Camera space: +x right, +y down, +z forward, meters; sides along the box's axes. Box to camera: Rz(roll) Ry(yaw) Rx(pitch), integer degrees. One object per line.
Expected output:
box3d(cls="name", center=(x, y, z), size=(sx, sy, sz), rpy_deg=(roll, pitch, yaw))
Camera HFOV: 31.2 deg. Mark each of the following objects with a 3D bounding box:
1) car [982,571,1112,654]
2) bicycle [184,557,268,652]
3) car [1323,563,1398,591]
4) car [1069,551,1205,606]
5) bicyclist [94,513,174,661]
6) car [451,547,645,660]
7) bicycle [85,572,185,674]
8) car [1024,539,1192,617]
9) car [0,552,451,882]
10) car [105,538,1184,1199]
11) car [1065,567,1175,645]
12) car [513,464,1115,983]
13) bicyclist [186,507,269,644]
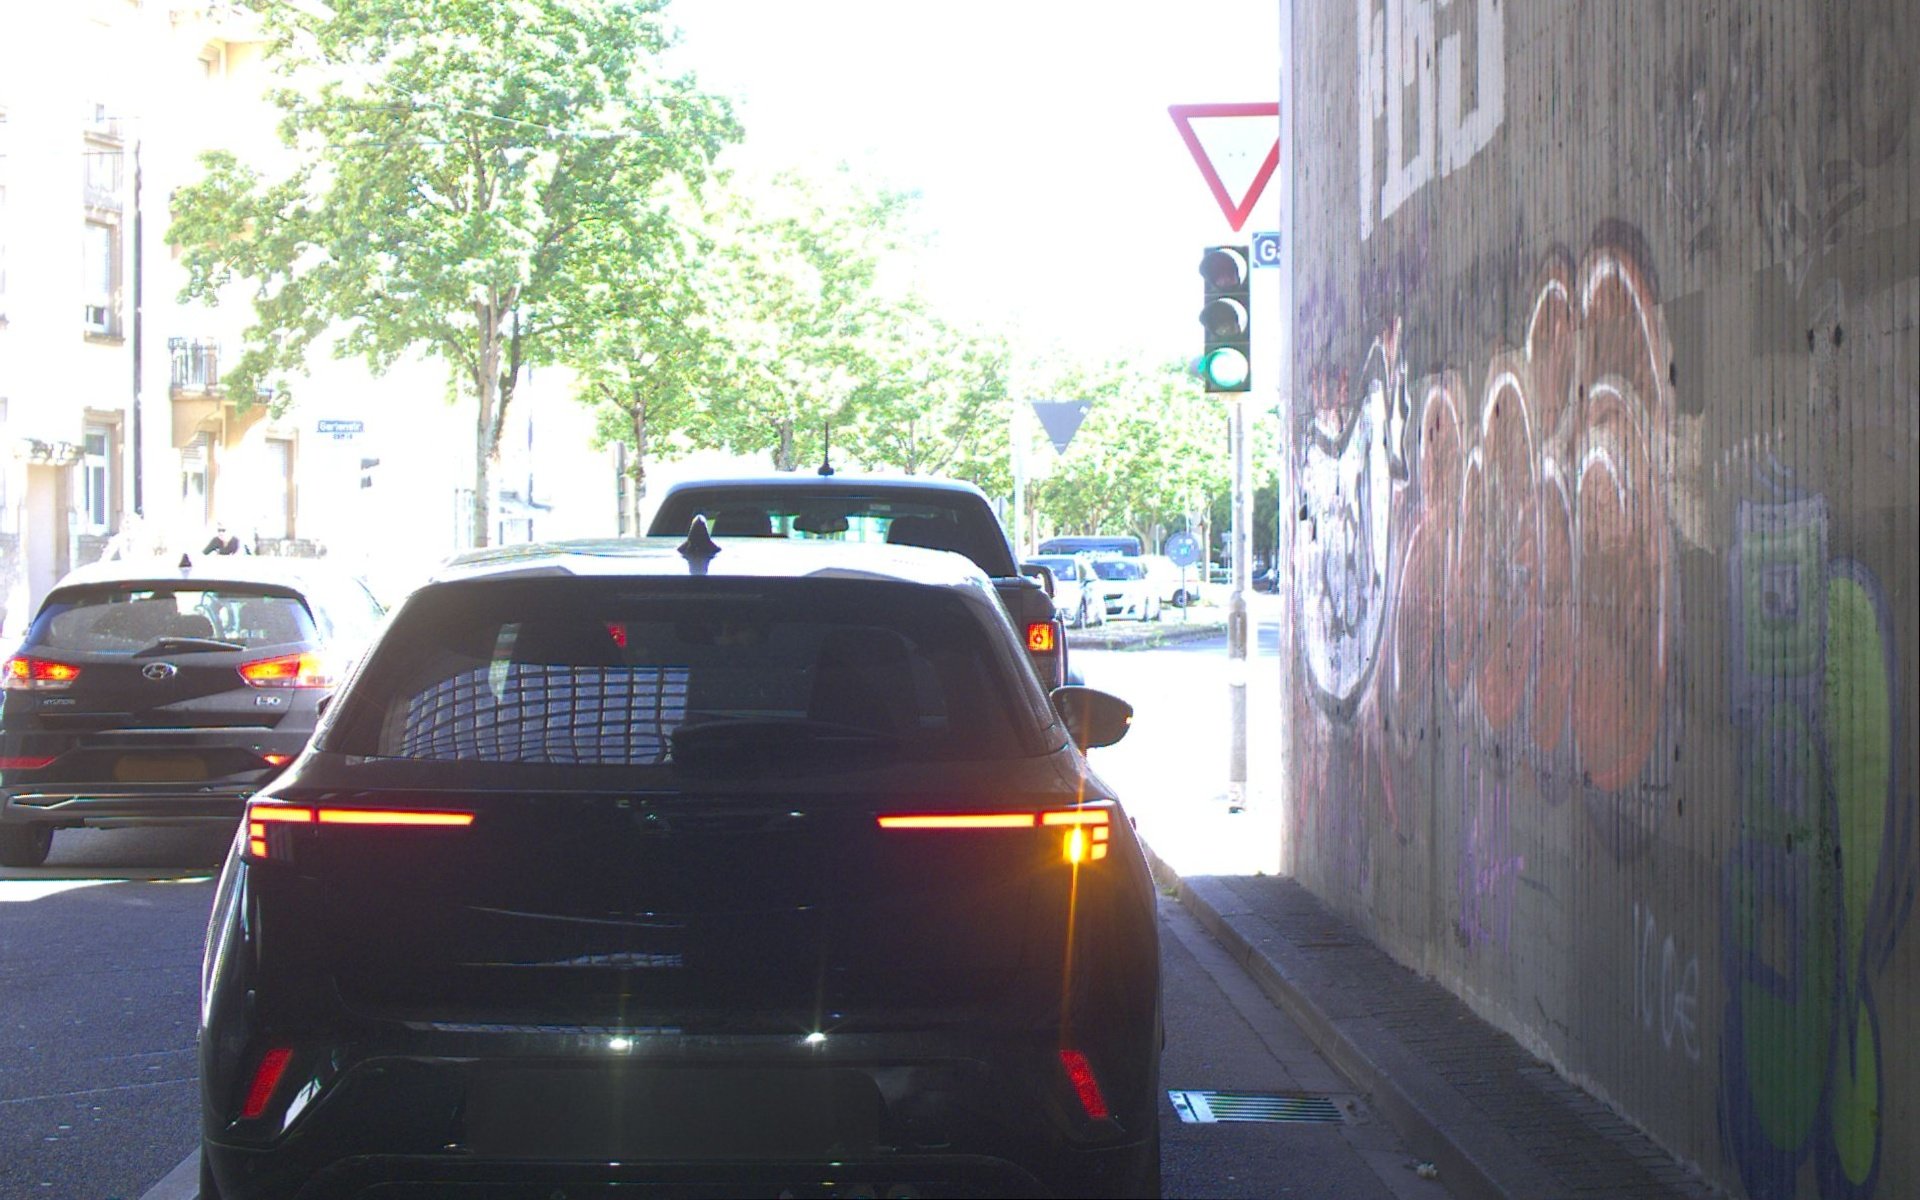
box3d(cls="car", center=(1.619, 0.200, 62.761), size=(1.708, 1.447, 3.849), rpy_deg=(0, 1, 12))
box3d(cls="bicycle", center=(-8.969, 0.040, 42.078), size=(0.541, 1.119, 2.058), rpy_deg=(0, 1, 1))
box3d(cls="car", center=(22.385, -1.311, 192.208), size=(3.947, 1.392, 1.516), rpy_deg=(-2, 0, 1))
box3d(cls="car", center=(6.853, -0.823, 133.192), size=(4.883, 2.076, 1.986), rpy_deg=(-1, 0, -25))
box3d(cls="bicyclist", center=(-9.187, -0.151, 38.266), size=(0.606, 1.627, 0.910), rpy_deg=(0, 1, 5))
box3d(cls="car", center=(-5.435, 0.018, 45.704), size=(1.658, 1.436, 3.462), rpy_deg=(0, 1, 9))
box3d(cls="bicycle", center=(-9.143, 0.242, 38.159), size=(0.525, 1.086, 1.860), rpy_deg=(0, 1, 5))
box3d(cls="car", center=(4.981, -0.751, 115.605), size=(5.259, 2.537, 1.986), rpy_deg=(-1, 0, -15))
box3d(cls="car", center=(-3.715, 0.493, 17.542), size=(1.800, 1.446, 4.327), rpy_deg=(-1, 1, -3))
box3d(cls="car", center=(-0.546, 0.635, 7.596), size=(1.781, 1.512, 3.756), rpy_deg=(1, 1, -1))
box3d(cls="car", center=(3.365, 0.101, 71.741), size=(1.705, 1.507, 3.861), rpy_deg=(-2, 0, 11))
box3d(cls="car", center=(-0.723, 0.397, 14.667), size=(2.132, 1.829, 4.941), rpy_deg=(0, 1, -5))
box3d(cls="bicyclist", center=(-8.947, -0.307, 42.013), size=(0.782, 1.654, 1.031), rpy_deg=(0, 1, 0))
